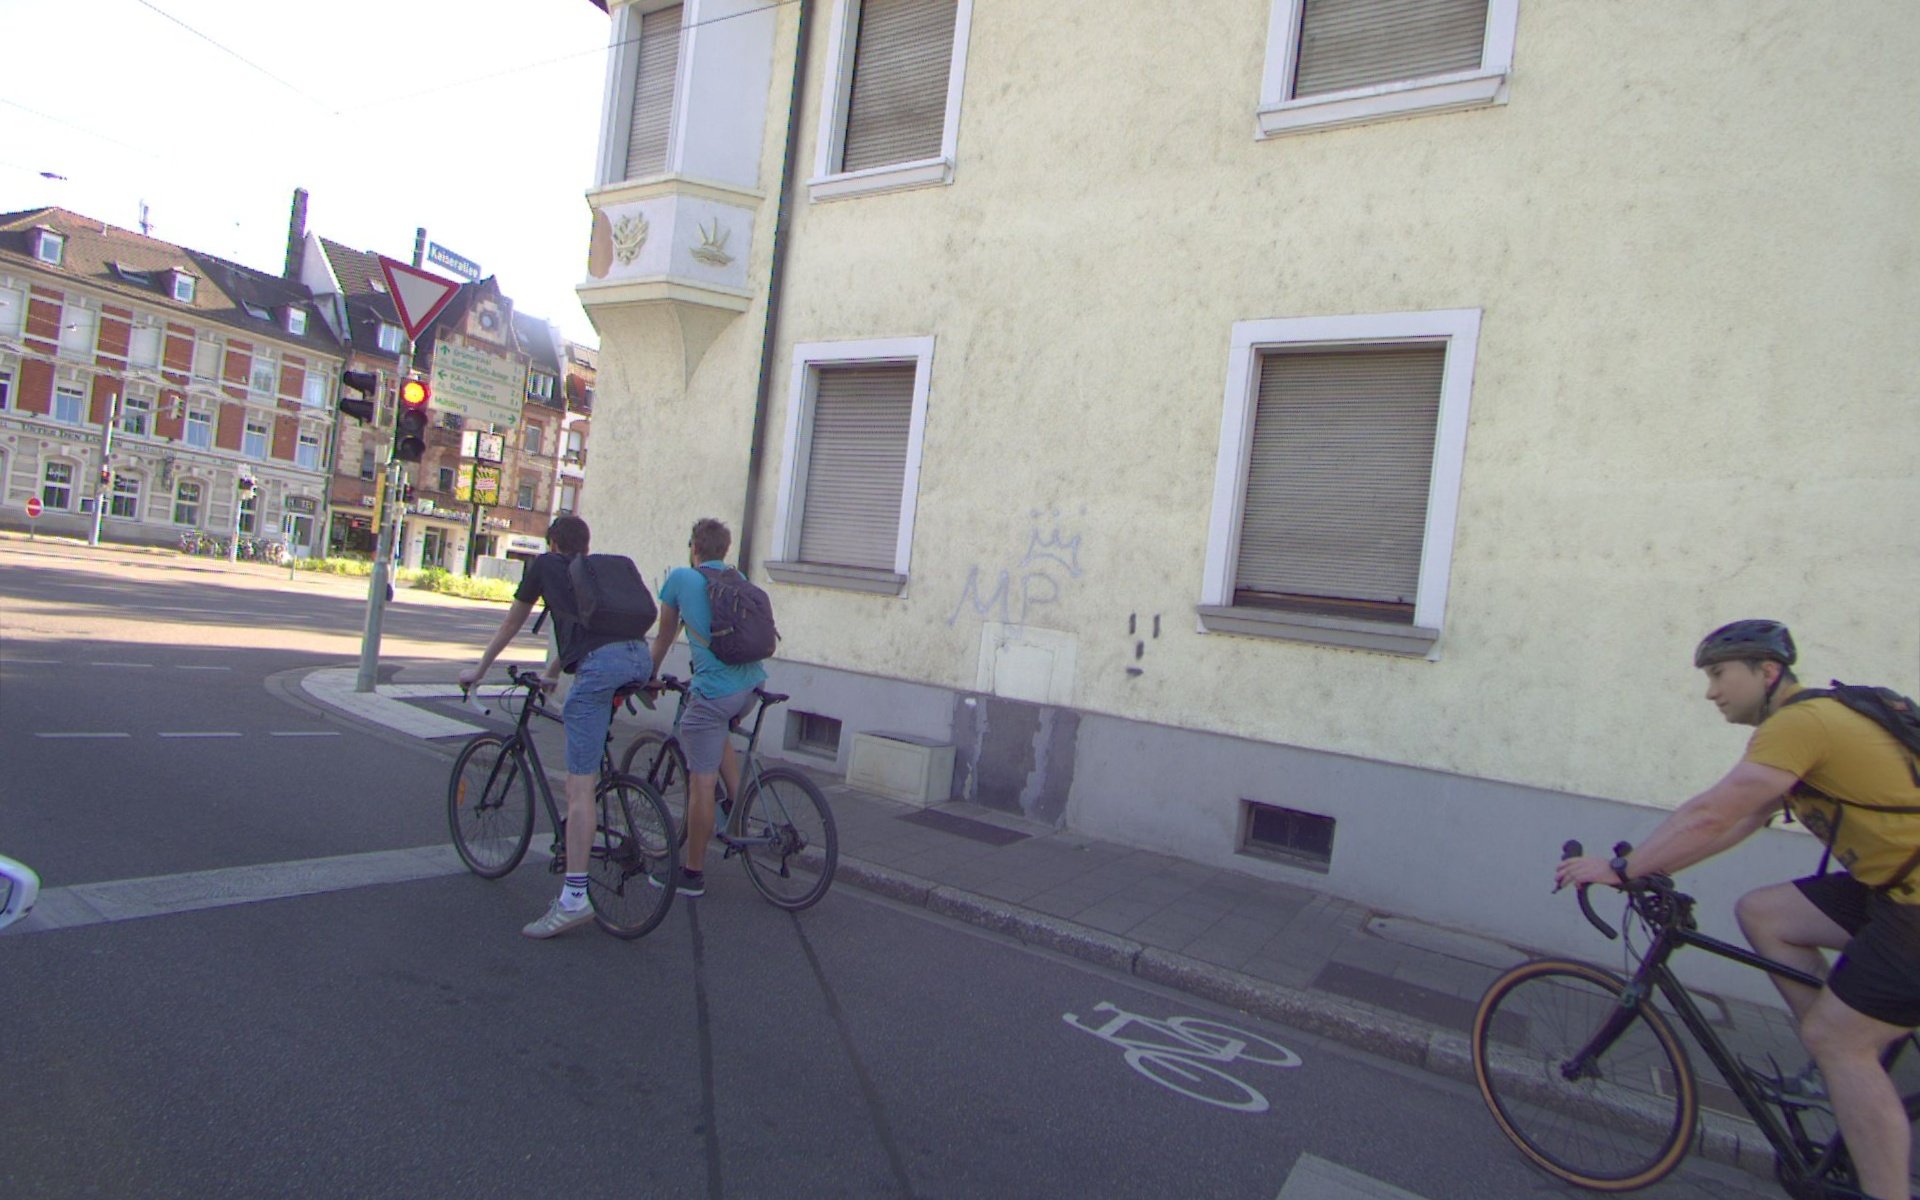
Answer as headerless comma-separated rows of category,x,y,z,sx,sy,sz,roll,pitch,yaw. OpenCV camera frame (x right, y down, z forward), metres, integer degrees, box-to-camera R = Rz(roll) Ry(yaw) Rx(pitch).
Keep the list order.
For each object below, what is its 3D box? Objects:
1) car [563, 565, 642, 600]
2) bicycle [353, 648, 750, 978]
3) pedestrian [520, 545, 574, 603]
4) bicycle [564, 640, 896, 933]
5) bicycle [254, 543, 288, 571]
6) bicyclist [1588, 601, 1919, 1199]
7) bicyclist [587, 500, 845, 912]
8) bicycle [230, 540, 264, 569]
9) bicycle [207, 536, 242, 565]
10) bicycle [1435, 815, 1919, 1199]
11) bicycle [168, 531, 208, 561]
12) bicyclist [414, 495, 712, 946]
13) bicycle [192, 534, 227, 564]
car,-23.163,-1.122,65.326,2.116,1.660,4.340,7,-1,31
bicycle,-1.918,0.857,4.595,1.897,1.023,0.645,7,0,34
pedestrian,-16.562,-1.037,40.382,1.285,2.068,1.321,7,0,31
bicycle,-1.257,0.888,5.285,1.784,1.130,0.519,7,0,34
bicycle,-33.108,-2.066,48.321,2.102,1.150,0.609,7,0,37
bicyclist,2.467,0.937,2.888,0.940,1.743,0.582,7,0,32
bicyclist,-1.274,0.501,5.250,0.961,1.917,0.602,6,-1,34
bicycle,-33.673,-2.159,47.517,2.140,1.157,0.618,7,0,37
bicycle,-34.206,-2.306,46.766,2.140,1.157,0.618,7,0,37
bicycle,2.434,1.378,2.885,1.780,1.101,0.611,7,0,32
bicycle,-35.056,-2.444,45.686,2.140,1.157,0.806,7,0,37
bicyclist,-1.807,0.475,4.549,1.083,1.775,0.562,7,0,34
bicycle,-34.541,-2.354,46.289,2.140,1.157,0.618,7,0,37
